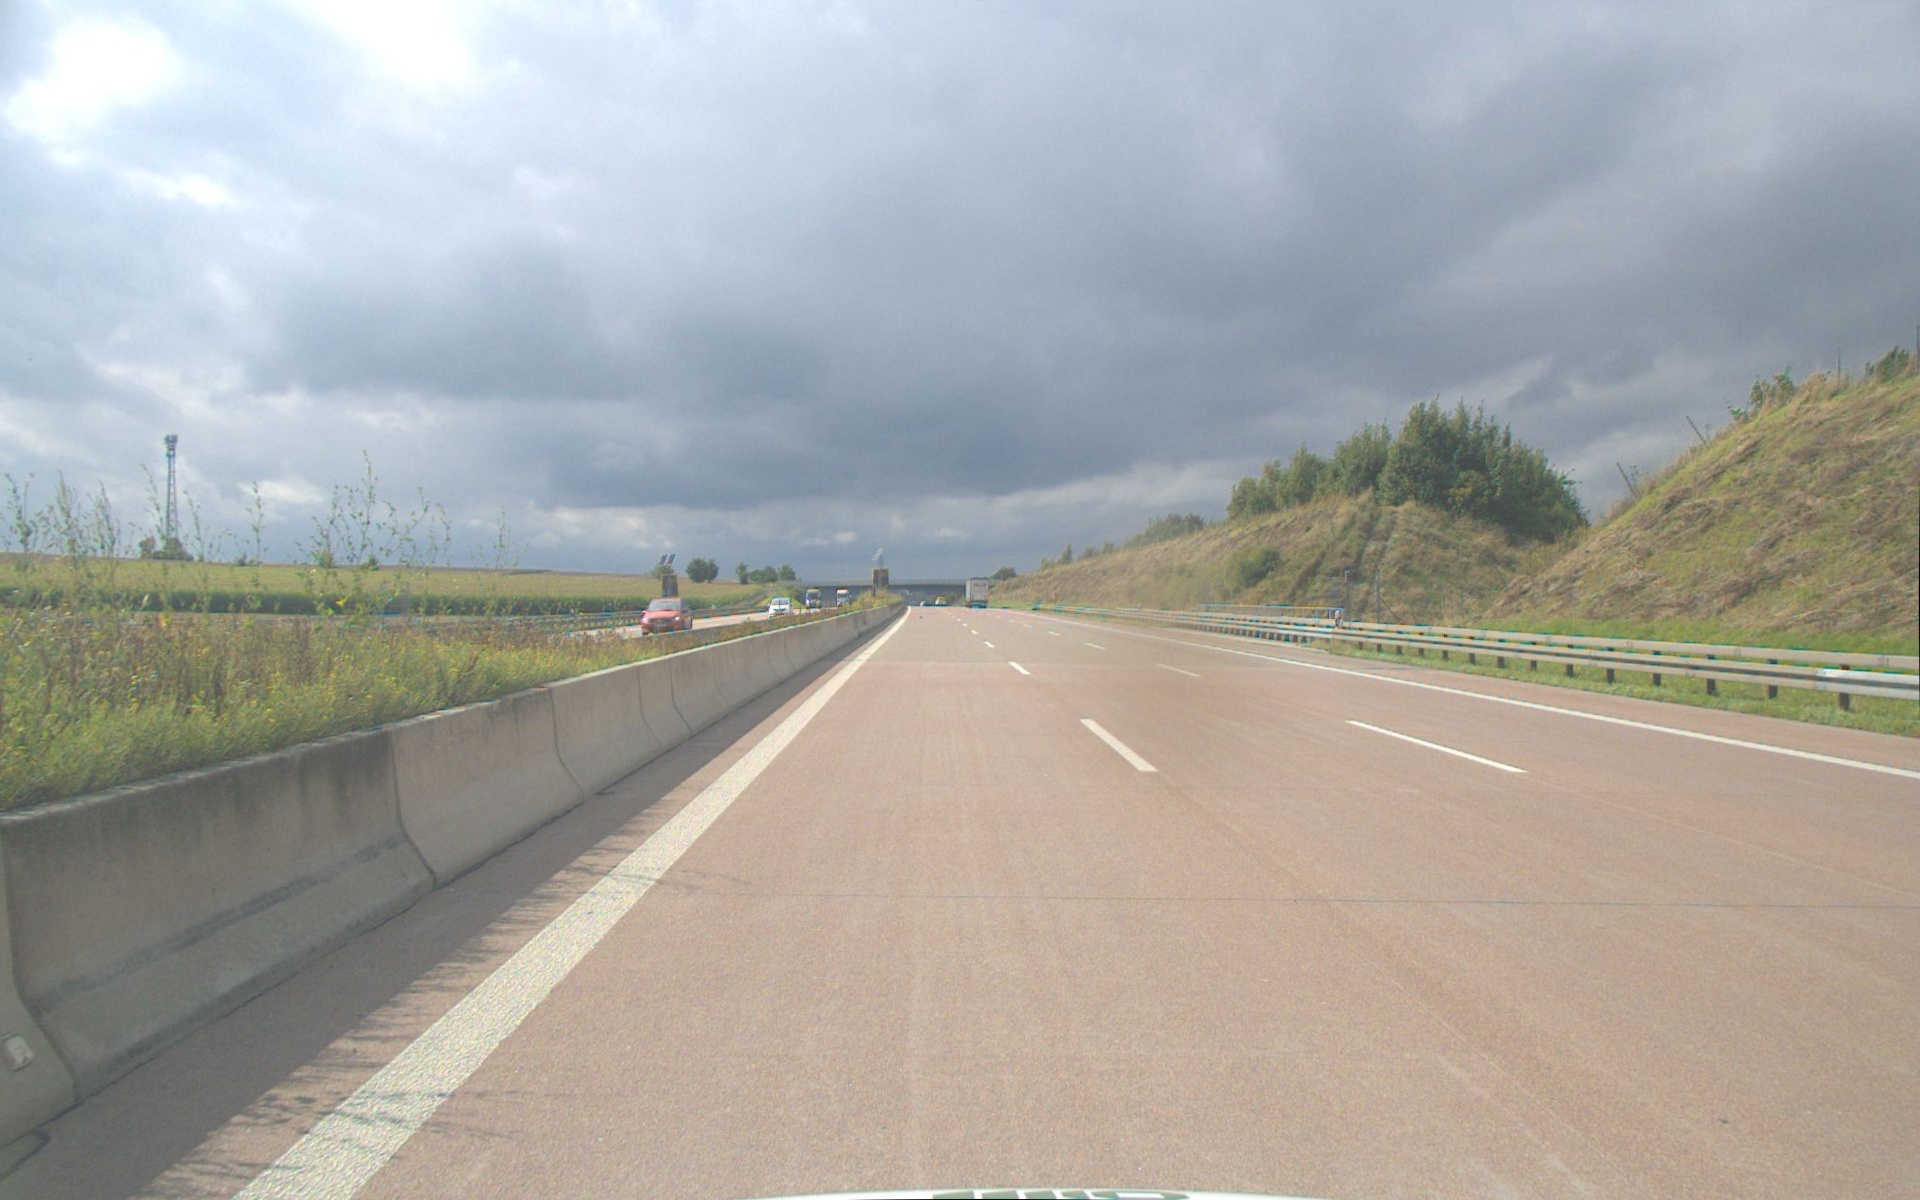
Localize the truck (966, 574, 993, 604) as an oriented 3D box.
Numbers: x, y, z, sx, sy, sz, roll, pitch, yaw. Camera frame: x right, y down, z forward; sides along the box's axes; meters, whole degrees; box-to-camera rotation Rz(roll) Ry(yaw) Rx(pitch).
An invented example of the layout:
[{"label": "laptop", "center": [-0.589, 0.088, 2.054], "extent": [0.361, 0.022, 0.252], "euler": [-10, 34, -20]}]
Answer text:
[{"label": "truck", "center": [2.699, -1.611, 232.918], "extent": [3.543, 4.014, 11.173], "euler": [2, 1, -1]}]

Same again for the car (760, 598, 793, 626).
[{"label": "car", "center": [-14.233, 0.921, 128.540], "extent": [1.952, 2.106, 4.712], "euler": [-1, 0, 1]}]

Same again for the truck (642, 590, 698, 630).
[{"label": "truck", "center": [-12.890, 0.412, 73.738], "extent": [1.672, 1.601, 4.980], "euler": [-2, 1, -2]}]
